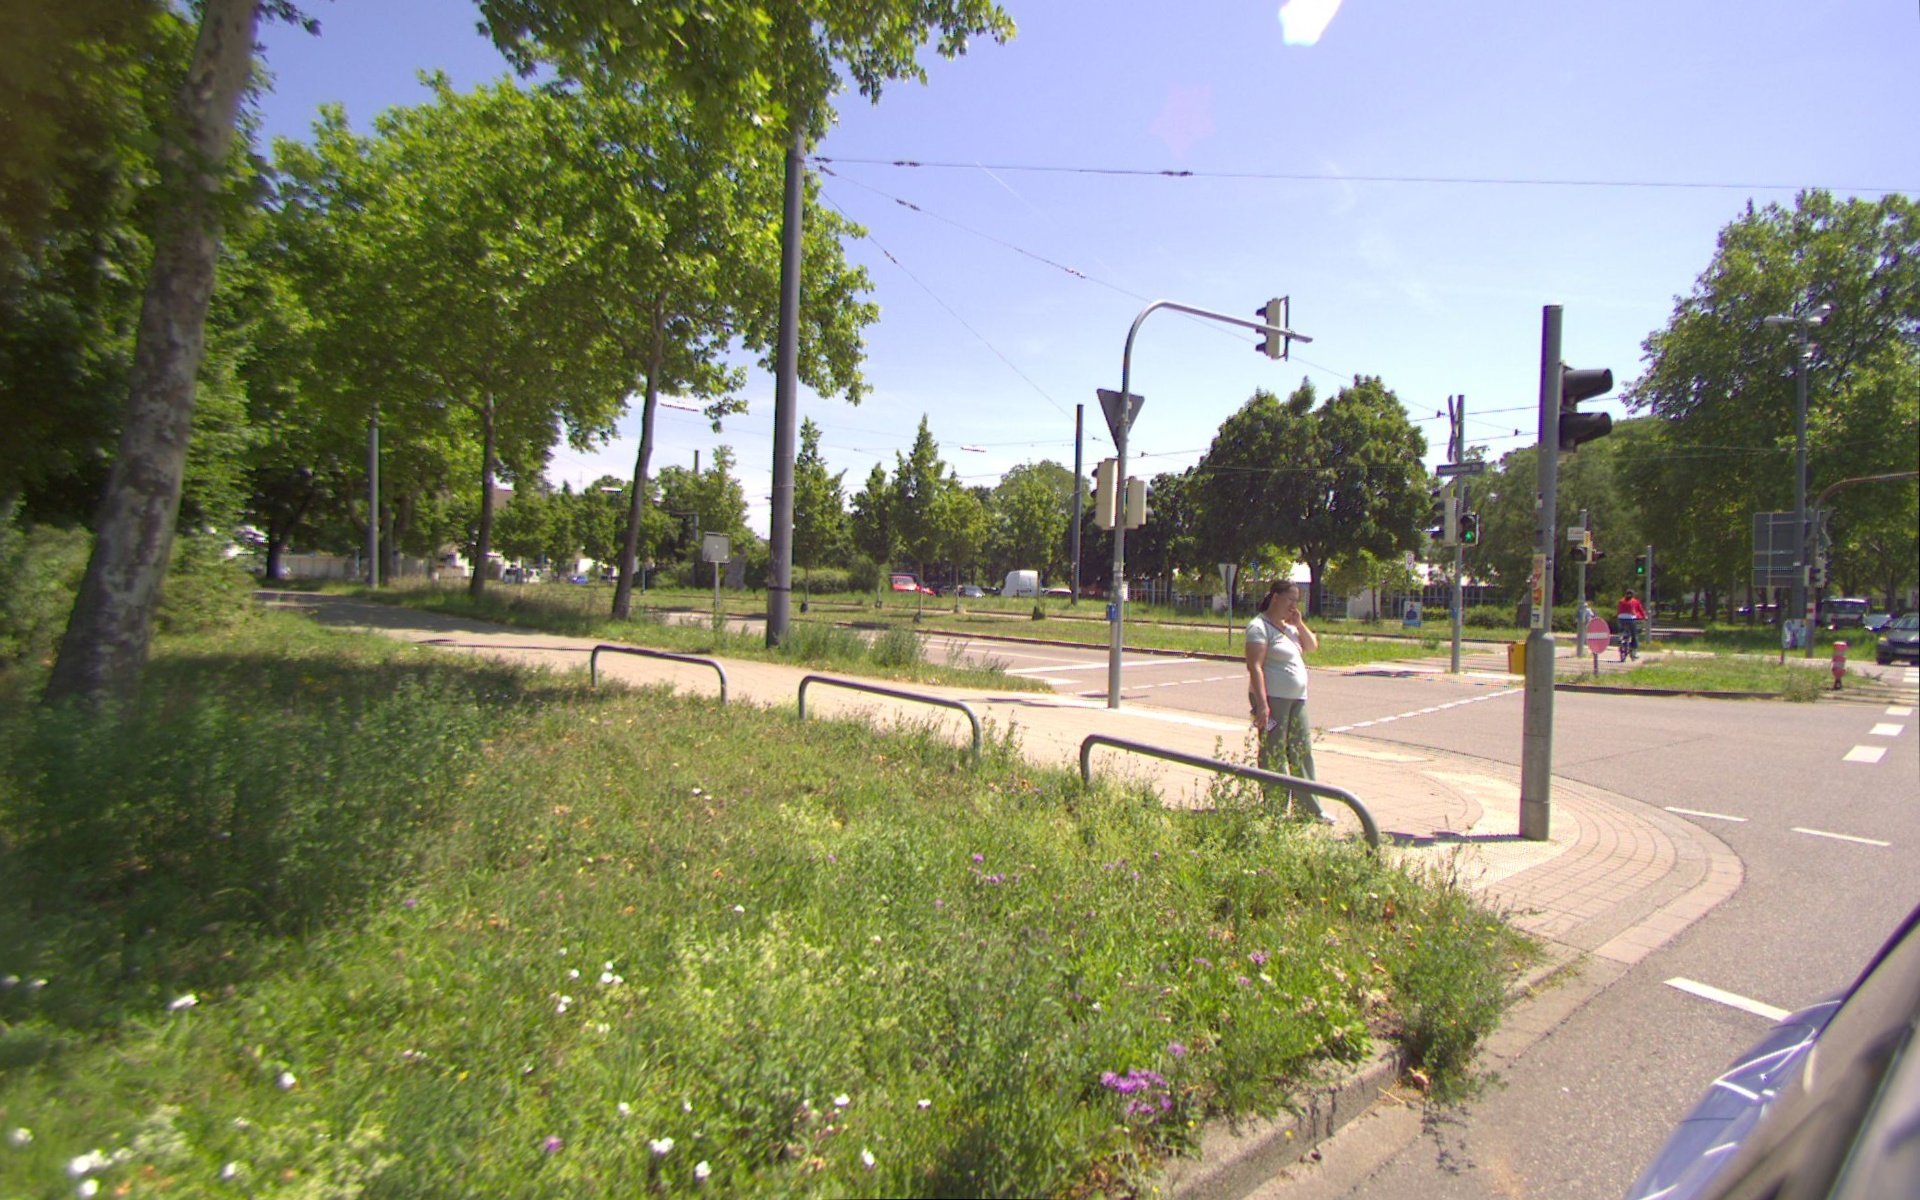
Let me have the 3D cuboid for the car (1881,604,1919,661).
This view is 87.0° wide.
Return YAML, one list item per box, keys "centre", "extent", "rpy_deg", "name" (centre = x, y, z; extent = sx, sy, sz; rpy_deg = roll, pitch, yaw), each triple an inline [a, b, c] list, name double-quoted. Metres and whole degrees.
- centre: [26.958, 0.887, 27.603]
  extent: [3.787, 1.480, 1.657]
  rpy_deg: [1, 0, -31]
  name: "car"

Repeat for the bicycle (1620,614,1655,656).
- centre: [16.270, 0.823, 24.329]
  extent: [0.584, 0.907, 1.791]
  rpy_deg: [2, 1, 31]
  name: "bicycle"

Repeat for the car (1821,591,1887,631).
- centre: [63.371, 0.744, 71.871]
  extent: [2.903, 2.687, 6.282]
  rpy_deg: [1, 1, 36]
  name: "car"

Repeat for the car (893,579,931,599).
- centre: [-4.211, -0.989, 88.699]
  extent: [3.016, 1.624, 1.517]
  rpy_deg: [1, 1, -12]
  name: "car"

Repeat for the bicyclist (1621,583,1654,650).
- centre: [16.265, 0.388, 24.302]
  extent: [0.575, 1.576, 0.666]
  rpy_deg: [2, 0, 31]
  name: "bicyclist"

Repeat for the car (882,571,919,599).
- centre: [-4.617, -1.136, 77.817]
  extent: [2.031, 2.028, 4.673]
  rpy_deg: [1, 1, -13]
  name: "car"

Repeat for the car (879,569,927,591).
- centre: [-5.744, -2.024, 101.097]
  extent: [4.329, 2.039, 2.251]
  rpy_deg: [1, 0, -16]
  name: "car"

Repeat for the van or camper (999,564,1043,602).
- centre: [4.797, -1.352, 79.958]
  extent: [2.157, 2.785, 5.140]
  rpy_deg: [1, 1, -11]
  name: "van or camper"

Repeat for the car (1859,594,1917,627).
- centre: [54.698, 0.573, 59.720]
  extent: [1.988, 1.816, 3.948]
  rpy_deg: [2, 1, 36]
  name: "car"

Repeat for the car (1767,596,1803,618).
- centre: [75.812, 0.610, 93.052]
  extent: [1.984, 1.861, 3.956]
  rpy_deg: [2, 1, 31]
  name: "car"

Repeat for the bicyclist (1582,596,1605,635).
- centre: [22.501, 0.535, 35.937]
  extent: [0.598, 1.355, 0.657]
  rpy_deg: [2, 1, 39]
  name: "bicyclist"

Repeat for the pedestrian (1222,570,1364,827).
- centre: [2.070, 0.571, 6.308]
  extent: [0.617, 1.502, 0.555]
  rpy_deg: [1, 0, -35]
  name: "pedestrian"

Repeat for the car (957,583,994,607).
- centre: [1.144, -0.372, 77.214]
  extent: [1.915, 1.739, 4.079]
  rpy_deg: [1, 1, -12]
  name: "car"

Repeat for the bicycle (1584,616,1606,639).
- centre: [22.515, 0.955, 35.877]
  extent: [0.463, 0.774, 1.645]
  rpy_deg: [2, 1, 38]
  name: "bicycle"
